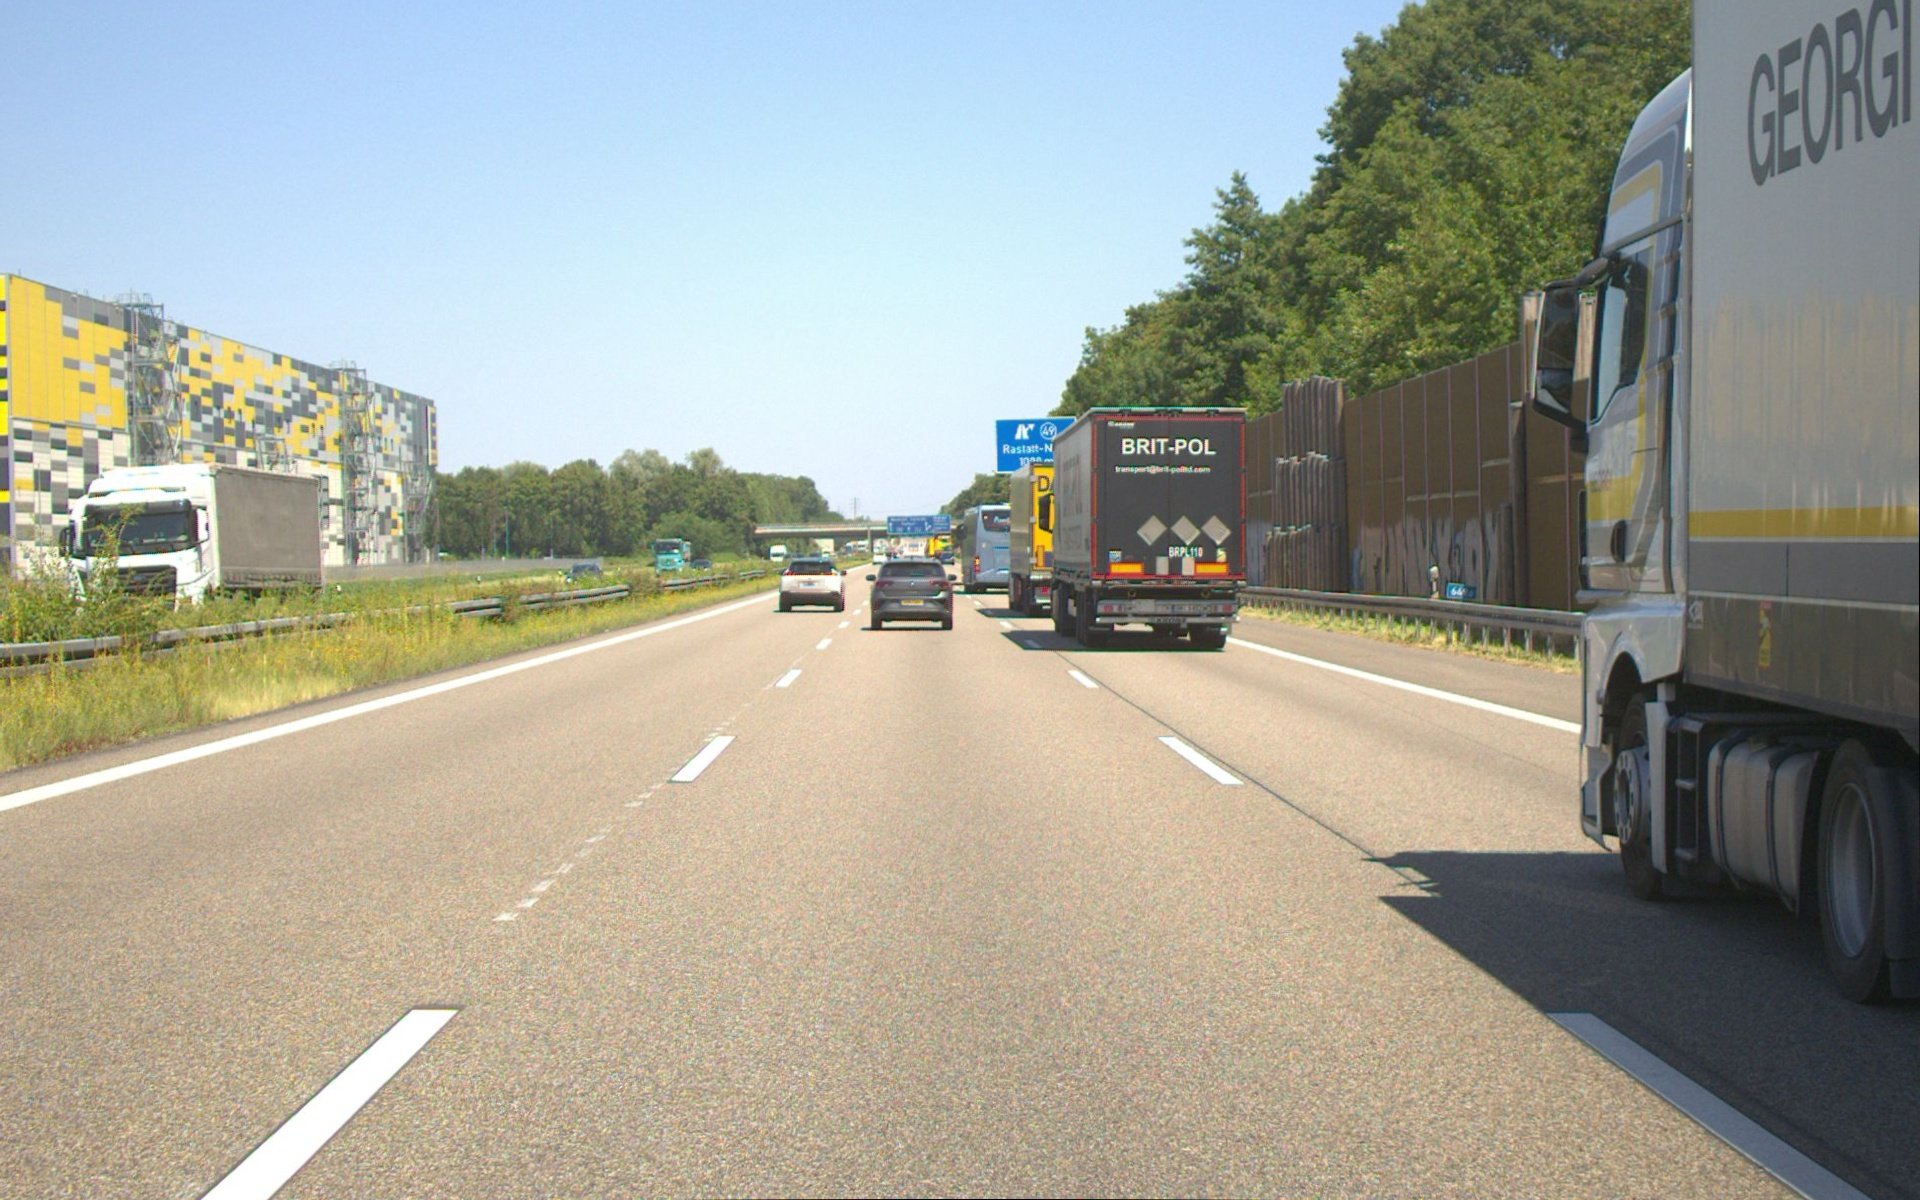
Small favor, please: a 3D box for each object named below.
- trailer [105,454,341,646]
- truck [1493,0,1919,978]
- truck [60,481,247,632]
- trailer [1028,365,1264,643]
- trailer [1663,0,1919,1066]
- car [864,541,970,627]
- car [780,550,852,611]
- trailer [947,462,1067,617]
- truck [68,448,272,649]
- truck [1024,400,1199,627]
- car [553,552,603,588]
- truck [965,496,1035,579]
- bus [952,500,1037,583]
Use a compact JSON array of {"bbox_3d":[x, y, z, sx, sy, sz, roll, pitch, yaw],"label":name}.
[{"bbox_3d":[-18.388,-1.222,86.850,3.195,4.407,13.327,-2,0,-1],"label":"trailer"},{"bbox_3d":[4.281,-0.717,14.993,3.002,4.110,5.253,0,0,-1],"label":"truck"},{"bbox_3d":[-22.564,-1.225,96.819,2.648,3.871,10.828,-3,1,-1],"label":"truck"},{"bbox_3d":[3.167,-1.646,63.261,3.106,4.491,14.897,0,1,-2],"label":"trailer"},{"bbox_3d":[4.431,-0.693,6.969,2.993,4.274,13.419,1,1,-1],"label":"trailer"},{"bbox_3d":[-0.965,-0.386,75.366,2.216,1.784,5.394,-1,1,-1],"label":"car"},{"bbox_3d":[-4.083,-0.574,98.093,1.993,1.722,4.131,0,1,-2],"label":"car"},{"bbox_3d":[1.174,-1.634,93.168,2.834,3.940,11.685,0,1,-1],"label":"trailer"},{"bbox_3d":[-18.259,-1.180,79.925,3.160,4.411,6.981,-1,0,-1],"label":"truck"},{"bbox_3d":[3.007,-1.712,70.043,3.087,4.425,6.053,0,0,-2],"label":"truck"},{"bbox_3d":[-20.001,-1.561,180.083,1.993,1.674,5.552,-2,-1,0],"label":"car"},{"bbox_3d":[2.046,-3.257,179.737,3.422,4.112,9.565,-1,1,0],"label":"truck"},{"bbox_3d":[1.400,-2.428,144.055,3.062,3.315,8.275,-1,1,-2],"label":"bus"}]
